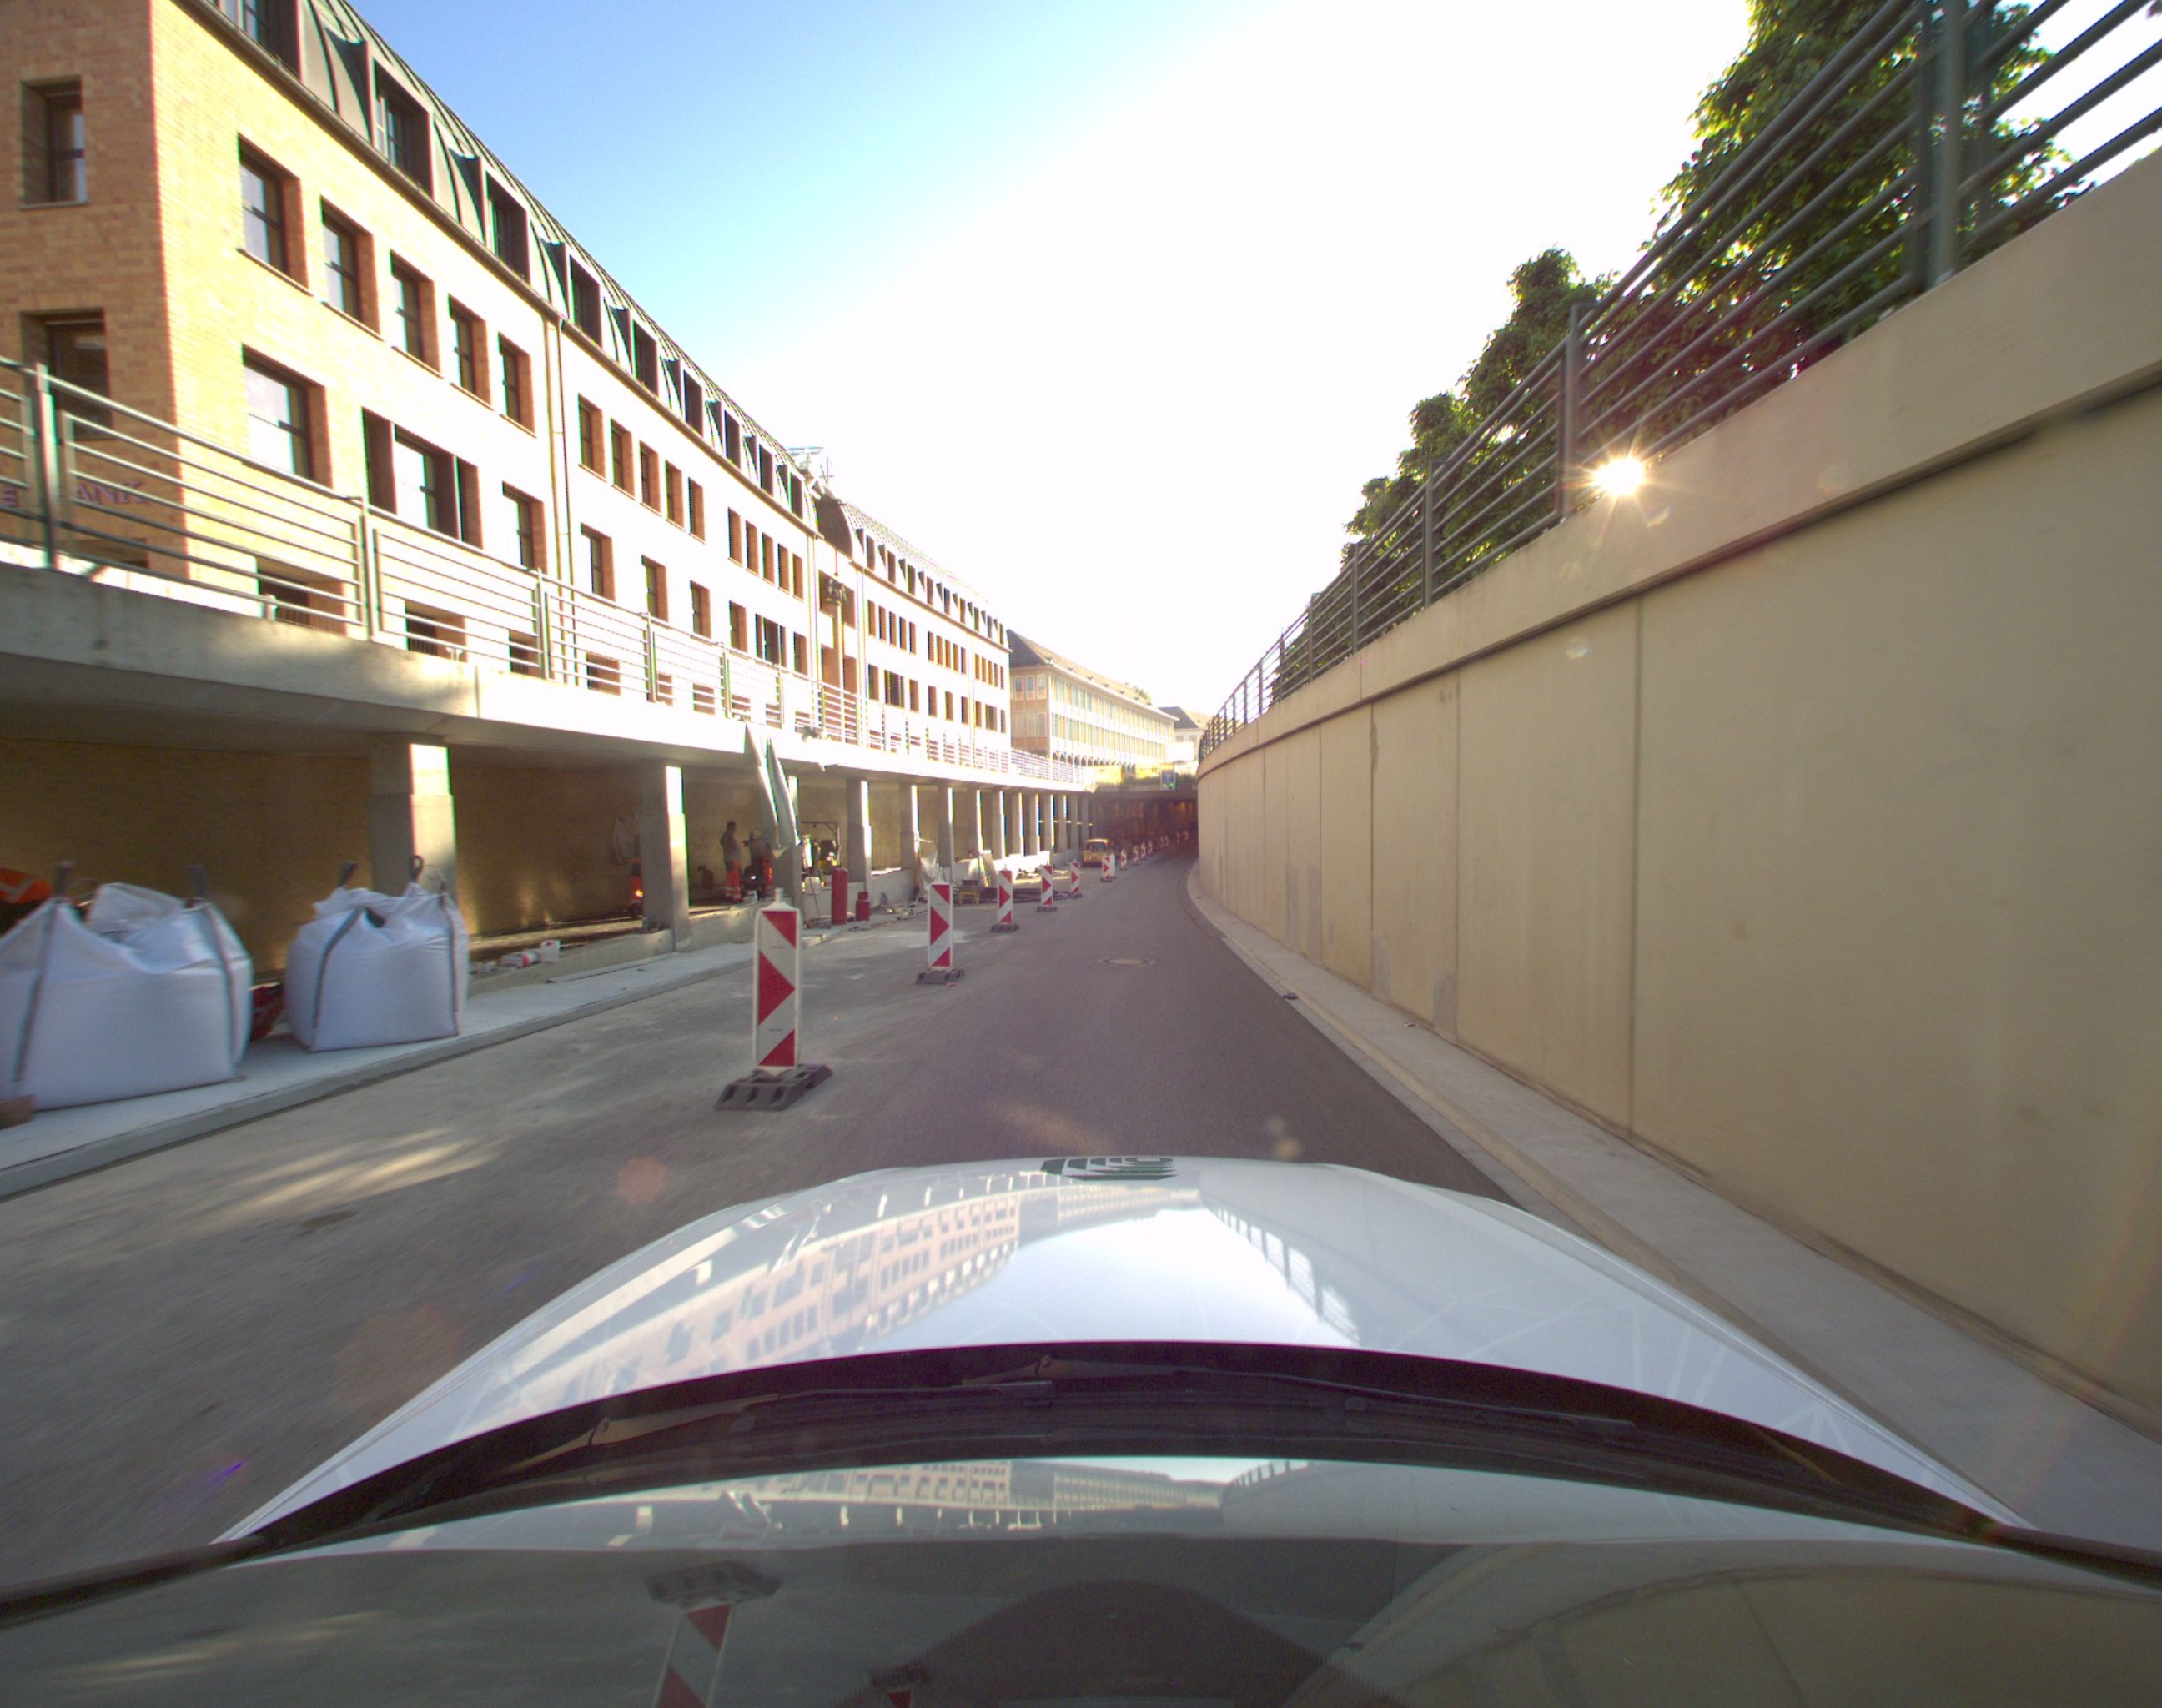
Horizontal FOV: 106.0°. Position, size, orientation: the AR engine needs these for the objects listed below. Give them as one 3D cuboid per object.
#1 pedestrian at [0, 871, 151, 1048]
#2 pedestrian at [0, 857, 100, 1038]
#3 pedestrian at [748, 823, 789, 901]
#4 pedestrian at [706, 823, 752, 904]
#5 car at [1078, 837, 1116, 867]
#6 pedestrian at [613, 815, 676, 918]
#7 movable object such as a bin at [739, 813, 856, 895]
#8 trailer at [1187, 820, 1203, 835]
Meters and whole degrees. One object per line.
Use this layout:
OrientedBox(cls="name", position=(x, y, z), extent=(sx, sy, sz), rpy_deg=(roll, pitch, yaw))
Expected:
OrientedBox(cls="pedestrian", position=(-8.779, 0.856, 6.890), extent=(0.870, 1.398, 0.782), rpy_deg=(-1, 0, -5))
OrientedBox(cls="pedestrian", position=(-9.692, 0.829, 7.442), extent=(0.648, 1.579, 0.630), rpy_deg=(-1, 0, -6))
OrientedBox(cls="pedestrian", position=(-7.392, 0.183, 19.256), extent=(0.652, 1.805, 0.626), rpy_deg=(0, 0, 12))
OrientedBox(cls="pedestrian", position=(-8.022, 0.209, 18.560), extent=(0.701, 1.814, 0.710), rpy_deg=(1, 0, 2))
OrientedBox(cls="car", position=(1.085, -0.177, 53.003), extent=(1.837, 1.775, 4.448), rpy_deg=(0, 3, 10))
OrientedBox(cls="pedestrian", position=(-8.565, 0.238, 16.003), extent=(0.674, 1.957, 0.938), rpy_deg=(1, 0, 4))
OrientedBox(cls="movable object such as a bin", position=(-7.358, -0.027, 21.485), extent=(1.878, 1.987, 3.161), rpy_deg=(0, 1, 2))
OrientedBox(cls="trailer", position=(14.348, -3.399, 102.274), extent=(1.568, 1.797, 2.953), rpy_deg=(1, 3, 17))
